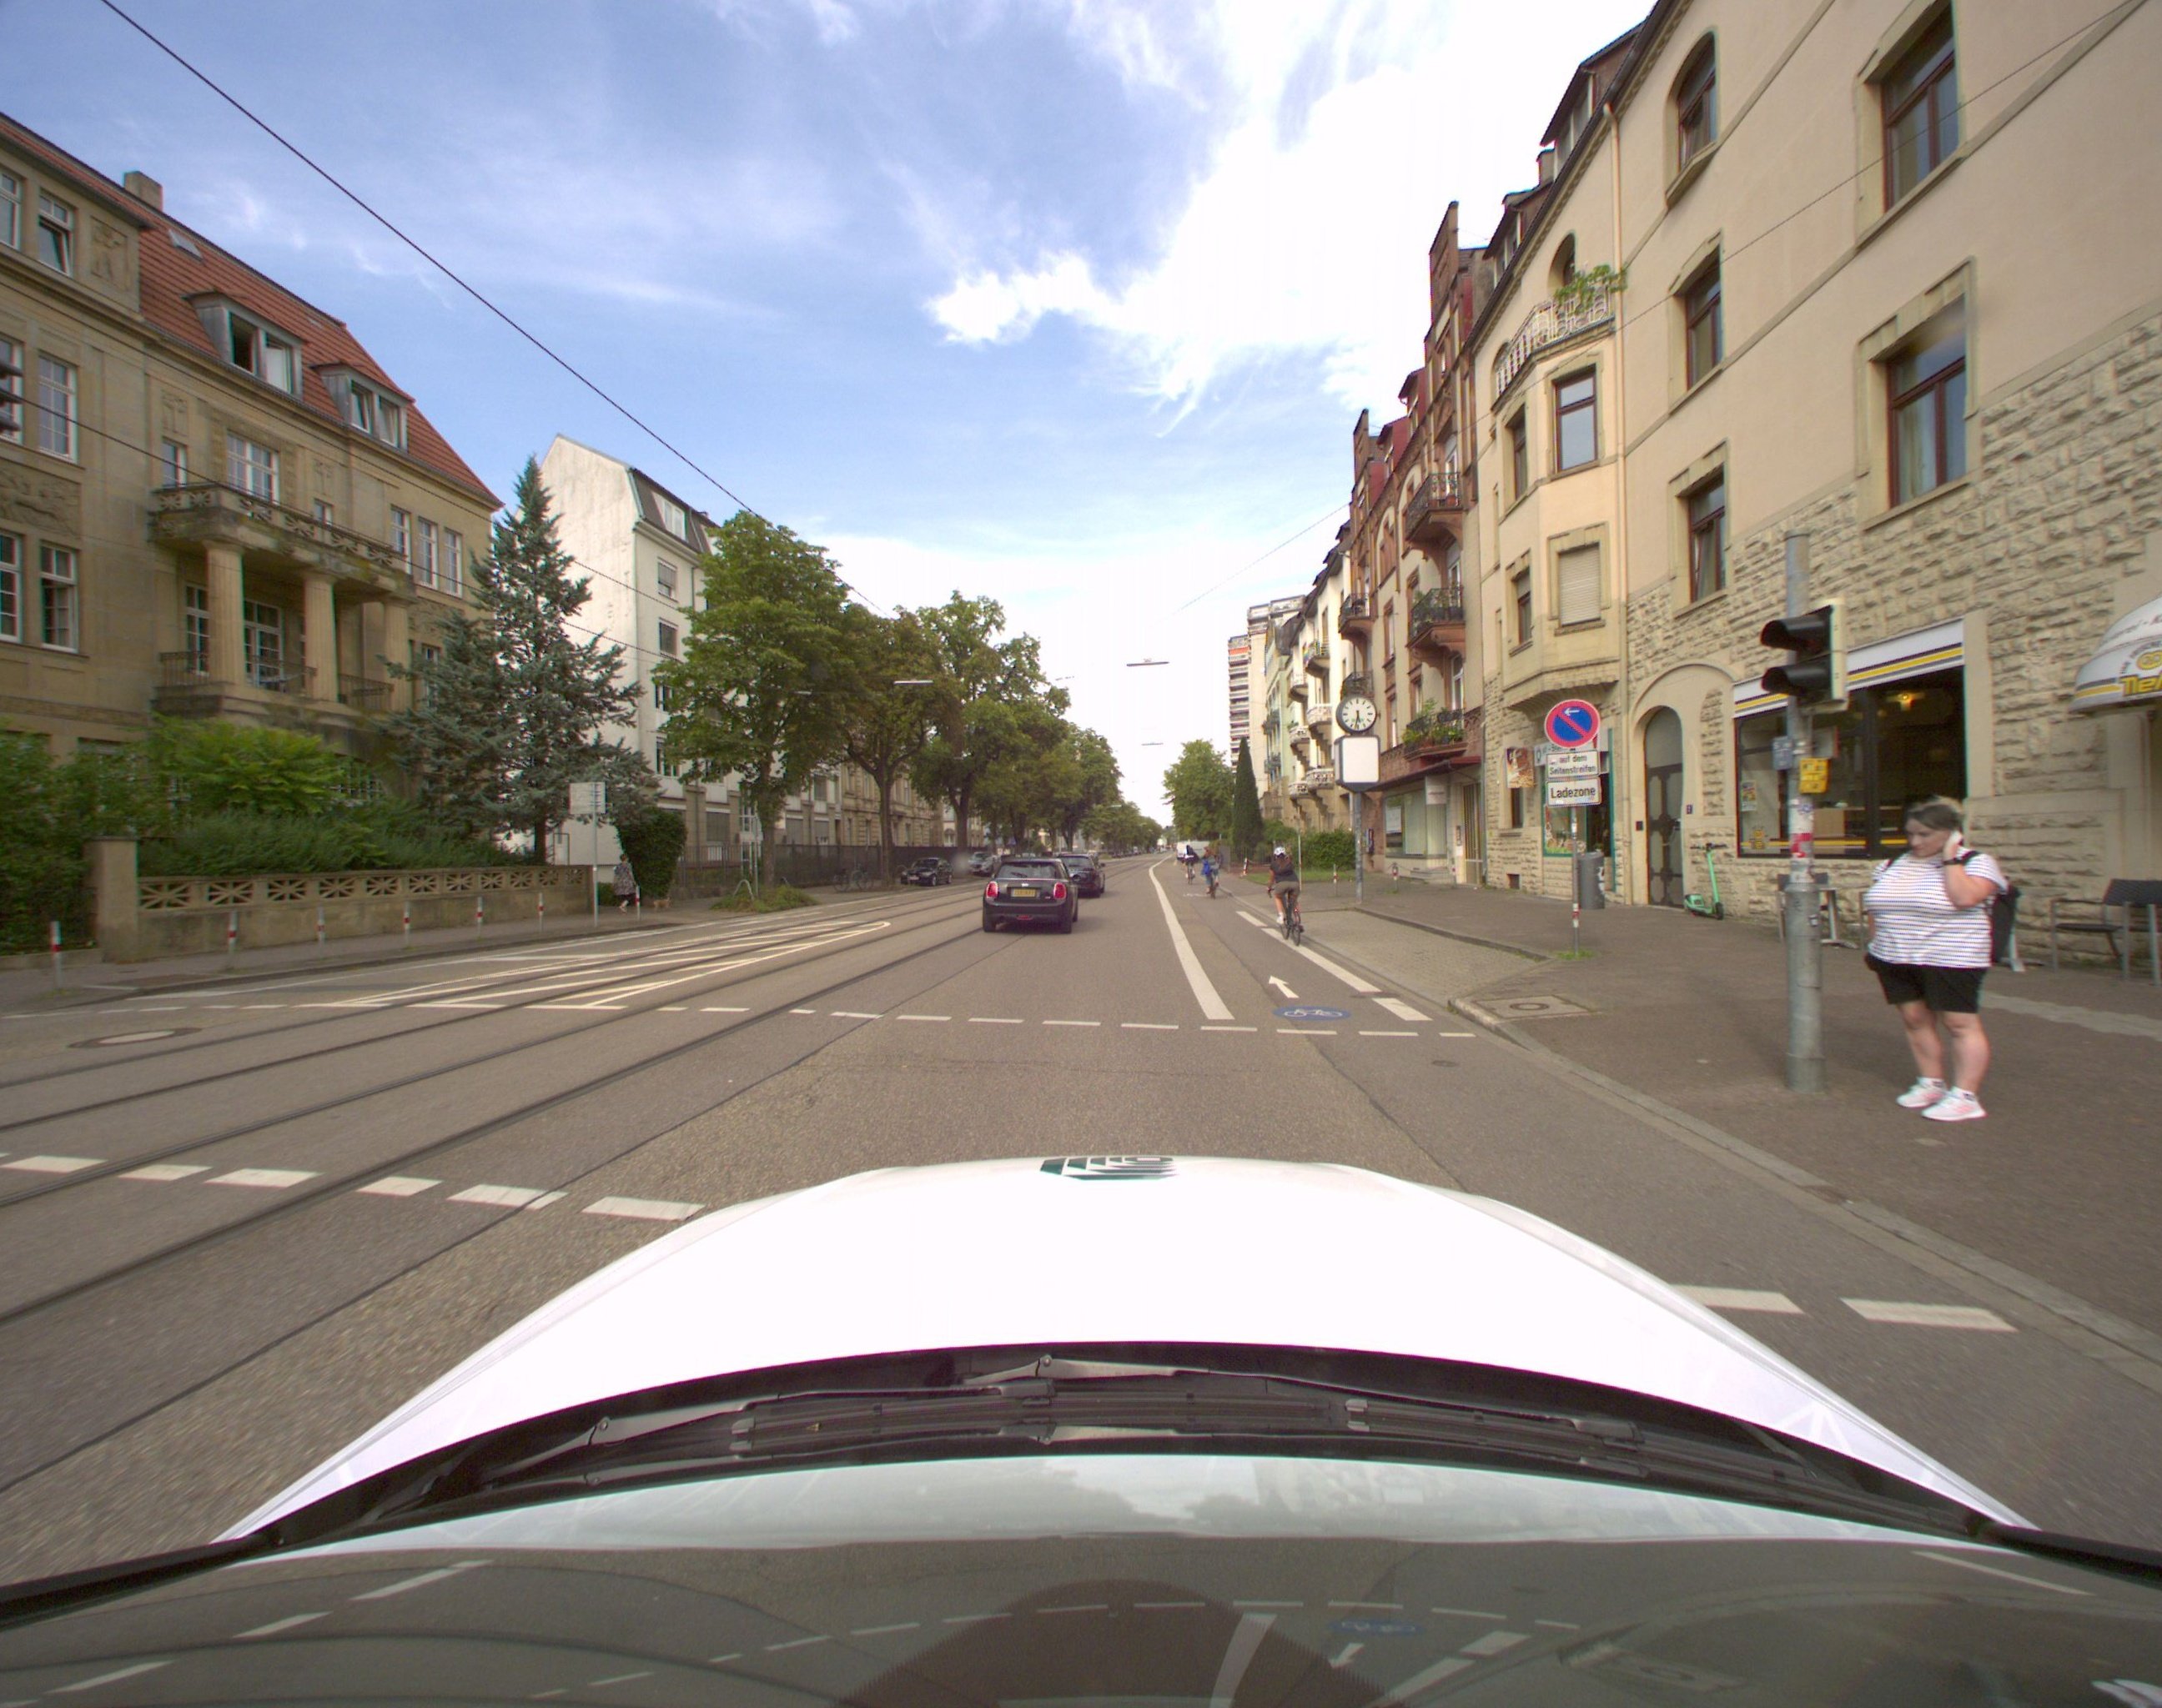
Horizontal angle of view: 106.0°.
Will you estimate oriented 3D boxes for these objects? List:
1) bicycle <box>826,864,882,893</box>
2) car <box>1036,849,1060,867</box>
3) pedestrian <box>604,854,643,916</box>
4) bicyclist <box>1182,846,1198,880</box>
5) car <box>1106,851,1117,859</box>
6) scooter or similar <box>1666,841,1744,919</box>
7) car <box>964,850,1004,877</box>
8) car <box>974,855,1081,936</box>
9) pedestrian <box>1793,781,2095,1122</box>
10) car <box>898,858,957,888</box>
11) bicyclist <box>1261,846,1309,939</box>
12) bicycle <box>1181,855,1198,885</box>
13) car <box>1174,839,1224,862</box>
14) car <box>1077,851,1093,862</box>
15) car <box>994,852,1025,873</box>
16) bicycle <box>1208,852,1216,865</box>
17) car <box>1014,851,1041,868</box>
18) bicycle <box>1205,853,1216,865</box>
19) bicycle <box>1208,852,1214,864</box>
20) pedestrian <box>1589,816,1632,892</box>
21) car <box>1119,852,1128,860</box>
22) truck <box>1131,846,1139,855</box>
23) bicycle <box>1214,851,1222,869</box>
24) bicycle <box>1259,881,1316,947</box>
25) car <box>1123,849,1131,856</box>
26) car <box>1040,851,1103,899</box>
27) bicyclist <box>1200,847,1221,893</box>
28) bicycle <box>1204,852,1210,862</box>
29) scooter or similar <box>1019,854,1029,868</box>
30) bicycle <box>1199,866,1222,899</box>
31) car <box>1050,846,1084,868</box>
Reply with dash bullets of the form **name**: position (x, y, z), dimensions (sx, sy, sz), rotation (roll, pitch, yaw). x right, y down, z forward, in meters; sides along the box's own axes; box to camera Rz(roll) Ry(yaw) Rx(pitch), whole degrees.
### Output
- **bicycle**: position (-9.773, 1.042, 35.061), dimensions (2.240, 1.175, 0.828), rotation (0, 0, -26)
- **car**: position (-3.265, 0.369, 81.448), dimensions (1.712, 1.655, 4.550), rotation (1, 0, 6)
- **pedestrian**: position (-13.177, 0.878, 23.492), dimensions (0.702, 1.735, 0.701), rotation (0, 0, 2)
- **bicyclist**: position (4.759, 0.387, 35.736), dimensions (0.654, 1.463, 1.180), rotation (0, 0, 6)
- **car**: position (5.840, 0.171, 156.279), dimensions (1.793, 1.374, 4.038), rotation (-2, 0, 6)
- **scooter or similar**: position (9.872, 0.388, 12.923), dimensions (0.395, 1.168, 1.199), rotation (-3, 0, 7)
- **car**: position (-6.459, 0.608, 54.815), dimensions (1.701, 1.673, 4.365), rotation (-1, 0, 7)
- **car**: position (-0.976, 0.748, 16.783), dimensions (1.787, 1.423, 4.002), rotation (1, 0, 2)
- **pedestrian**: position (4.685, 0.492, 4.491), dimensions (0.716, 1.660, 0.760), rotation (-5, 0, 3)
- **car**: position (-7.992, 0.938, 42.828), dimensions (1.710, 1.424, 4.176), rotation (1, 1, 9)
- **bicyclist**: position (3.576, 0.643, 14.342), dimensions (0.635, 1.570, 1.112), rotation (0, 0, 5)
- **bicycle**: position (4.757, 0.695, 35.754), dimensions (0.654, 1.249, 2.128), rotation (0, 0, 6)
- **car**: position (12.302, -0.349, 84.846), dimensions (4.981, 2.290, 2.358), rotation (-1, 0, -36)
- **car**: position (0.555, 0.291, 111.040), dimensions (1.684, 1.427, 3.875), rotation (0, 0, 6)
- **car**: position (-5.434, 0.643, 62.210), dimensions (1.592, 1.468, 4.087), rotation (-1, 0, 7)
- **bicycle**: position (9.977, 0.346, 61.955), dimensions (0.482, 0.907, 1.670), rotation (-2, -1, 10)
- **car**: position (-4.716, 0.503, 72.803), dimensions (1.712, 1.423, 4.030), rotation (1, 0, 6)
- **bicycle**: position (10.170, 0.376, 63.862), dimensions (0.485, 0.907, 1.662), rotation (-2, -1, -4)
- **bicycle**: position (10.871, 0.335, 68.251), dimensions (0.383, 0.907, 1.670), rotation (-2, -1, 11)
- **pedestrian**: position (11.350, -0.004, 17.470), dimensions (0.547, 1.580, 0.562), rotation (-1, 0, 6)
- **car**: position (9.709, 0.421, 186.089), dimensions (1.793, 1.583, 4.038), rotation (-2, 0, 6)
- **truck**: position (15.296, -1.009, 229.449), dimensions (2.060, 2.470, 4.908), rotation (-2, 0, 6)
- **bicycle**: position (8.648, 0.391, 51.489), dimensions (0.389, 1.103, 1.763), rotation (-3, 0, 7)
- **bicycle**: position (3.573, 1.015, 14.248), dimensions (0.635, 0.980, 2.074), rotation (0, 0, 5)
- **car**: position (11.052, -0.303, 196.020), dimensions (1.793, 1.583, 4.038), rotation (-2, 0, 6)
- **car**: position (-0.246, 0.654, 27.346), dimensions (1.785, 1.470, 4.004), rotation (1, 0, 4)
- **bicyclist**: position (4.233, 0.505, 26.733), dimensions (0.644, 1.470, 0.802), rotation (0, 1, 7)
- **bicycle**: position (11.839, 0.260, 76.469), dimensions (0.384, 0.907, 1.844), rotation (-2, -1, 5)
- **scooter or similar**: position (-4.908, 0.606, 69.940), dimensions (0.562, 1.223, 1.316), rotation (-1, 0, -17)
- **bicycle**: position (4.309, 0.935, 27.135), dimensions (0.684, 0.962, 2.041), rotation (-2, 0, 8)
- **car**: position (-0.947, 0.198, 58.197), dimensions (1.561, 1.416, 4.012), rotation (-3, 0, 10)
